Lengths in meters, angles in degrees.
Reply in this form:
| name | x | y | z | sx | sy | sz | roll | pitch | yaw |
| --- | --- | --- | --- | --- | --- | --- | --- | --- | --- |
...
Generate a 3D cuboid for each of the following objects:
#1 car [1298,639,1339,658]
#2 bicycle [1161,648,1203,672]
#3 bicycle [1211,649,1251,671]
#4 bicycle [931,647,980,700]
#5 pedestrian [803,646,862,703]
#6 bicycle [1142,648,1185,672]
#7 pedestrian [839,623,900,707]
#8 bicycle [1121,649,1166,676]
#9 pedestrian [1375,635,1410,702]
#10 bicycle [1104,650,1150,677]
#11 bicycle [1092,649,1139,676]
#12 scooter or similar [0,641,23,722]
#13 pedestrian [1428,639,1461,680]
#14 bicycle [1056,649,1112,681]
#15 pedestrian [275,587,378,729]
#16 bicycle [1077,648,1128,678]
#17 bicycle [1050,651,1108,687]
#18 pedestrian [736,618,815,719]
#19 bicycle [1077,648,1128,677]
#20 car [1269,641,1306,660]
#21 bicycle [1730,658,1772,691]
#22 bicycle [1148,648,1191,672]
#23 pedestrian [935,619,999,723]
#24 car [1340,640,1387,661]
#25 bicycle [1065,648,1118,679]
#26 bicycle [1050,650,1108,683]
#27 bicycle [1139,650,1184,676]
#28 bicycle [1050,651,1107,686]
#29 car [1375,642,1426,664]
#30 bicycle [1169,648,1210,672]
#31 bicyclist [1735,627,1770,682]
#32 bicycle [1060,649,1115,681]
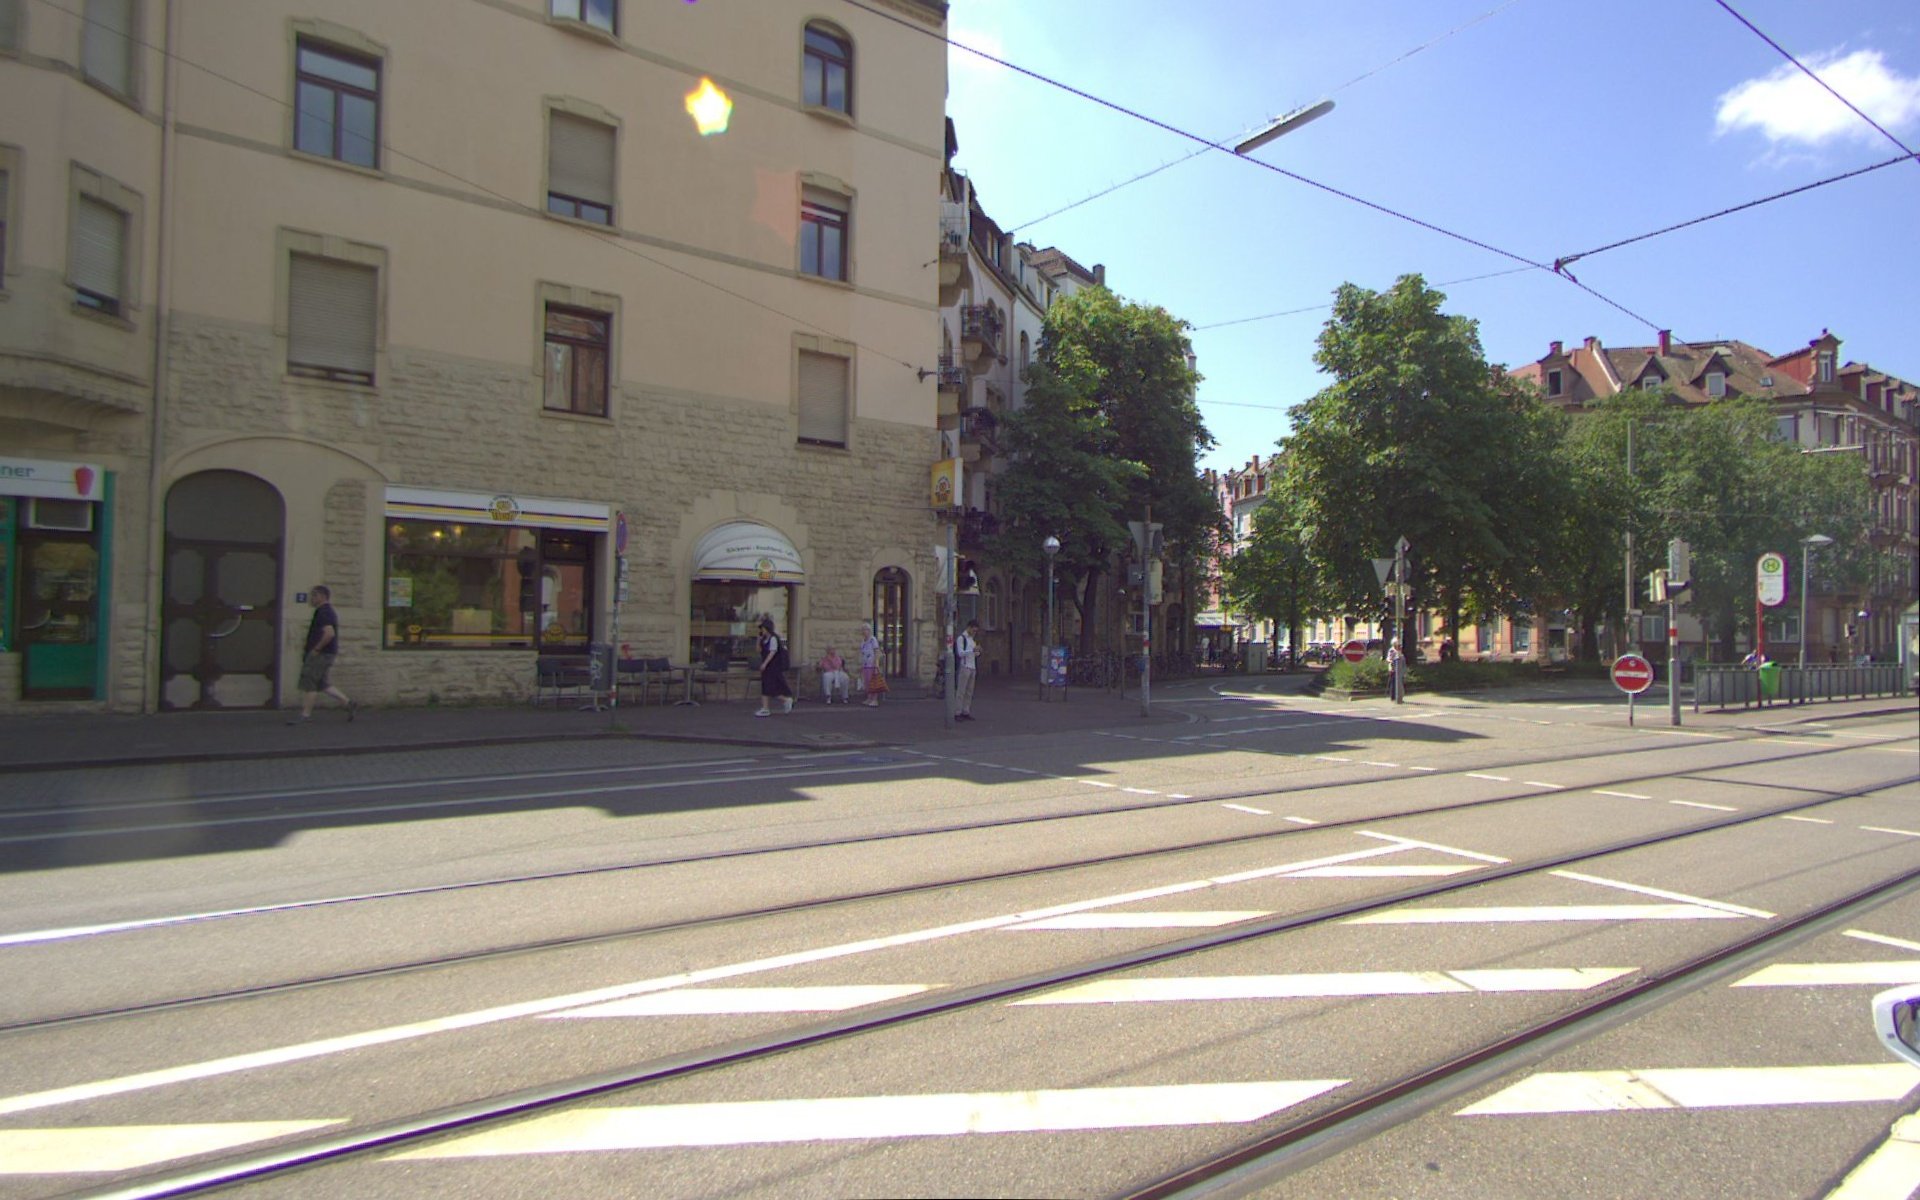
| name | x | y | z | sx | sy | sz | roll | pitch | yaw |
| --- | --- | --- | --- | --- | --- | --- | --- | --- | --- |
| car | 28.589 | 3.843 | 80.246 | 1.654 | 1.491 | 3.466 | 1 | -2 | -9 |
| bicycle | 10.154 | 2.730 | 45.950 | 1.825 | 1.046 | 0.543 | -1 | -2 | 34 |
| bicycle | 13.352 | 2.950 | 49.523 | 1.825 | 1.046 | 0.543 | -1 | -2 | 34 |
| bicycle | -0.083 | 1.656 | 22.590 | 0.533 | 1.143 | 1.684 | 0 | -4 | 19 |
| pedestrian | -2.564 | 1.472 | 20.150 | 0.873 | 1.092 | 0.910 | 2 | -2 | -33 |
| bicycle | 9.047 | 2.663 | 44.691 | 1.825 | 1.046 | 0.543 | -1 | -2 | 34 |
| pedestrian | -1.791 | 1.266 | 19.879 | 0.910 | 1.615 | 0.801 | 2 | -2 | -35 |
| bicycle | 7.651 | 2.601 | 41.905 | 1.825 | 1.046 | 0.543 | -1 | -2 | 35 |
| pedestrian | 11.549 | 1.814 | 26.829 | 0.824 | 1.745 | 0.918 | 0 | -2 | 26 |
| bicycle | 6.830 | 2.576 | 41.157 | 1.825 | 1.046 | 0.543 | -1 | -2 | 35 |
| bicycle | 6.250 | 2.495 | 40.406 | 1.825 | 1.046 | 0.543 | -1 | -2 | 35 |
| scooter or similar | -13.063 | 1.060 | 12.954 | 0.682 | 1.058 | 1.210 | 2 | -1 | 16 |
| pedestrian | 22.841 | 2.811 | 47.326 | 1.001 | 1.893 | 0.999 | 1 | -2 | -16 |
| bicycle | 4.204 | 2.194 | 33.979 | 1.819 | 1.046 | 0.545 | 0 | -2 | 17 |
| pedestrian | -8.987 | 0.794 | 14.246 | 1.153 | 1.916 | 0.895 | 2 | 0 | -35 |
| bicycle | 5.151 | 2.284 | 36.358 | 1.818 | 1.046 | 0.545 | 0 | -2 | 6 |
| bicycle | 3.614 | 2.099 | 30.567 | 1.697 | 1.046 | 0.544 | 1 | -2 | -1 |
| pedestrian | -3.182 | 1.166 | 17.331 | 1.016 | 1.657 | 0.854 | 2 | 0 | -36 |
| bicycle | 5.247 | 2.302 | 36.988 | 1.818 | 1.046 | 0.545 | 0 | -2 | 6 |
| car | 27.693 | 4.245 | 85.000 | 1.654 | 1.491 | 3.466 | 1 | -2 | -9 |
| bicycle | 27.634 | 2.585 | 35.097 | 1.699 | 1.116 | 0.724 | 2 | -2 | -36 |
| bicycle | 9.425 | 2.687 | 45.185 | 1.825 | 1.046 | 0.543 | -1 | -2 | 34 |
| pedestrian | 0.118 | 1.232 | 17.771 | 0.767 | 1.755 | 0.855 | 2 | -1 | -32 |
| car | 29.683 | 3.721 | 73.970 | 1.654 | 1.491 | 3.466 | 1 | -2 | -9 |
| bicycle | 4.655 | 2.248 | 35.512 | 1.818 | 1.046 | 0.545 | 0 | -2 | 13 |
| bicycle | 3.850 | 2.154 | 32.633 | 1.819 | 1.046 | 0.544 | 1 | -2 | -1 |
| bicycle | 8.641 | 2.679 | 43.007 | 1.825 | 1.046 | 0.543 | -1 | -2 | 35 |
| bicycle | 3.688 | 2.117 | 31.247 | 1.697 | 1.046 | 0.544 | 1 | -2 | -1 |
| car | 30.686 | 3.660 | 70.008 | 1.654 | 1.491 | 3.466 | 1 | -2 | -9 |
| bicycle | 10.661 | 2.771 | 46.689 | 1.825 | 1.046 | 0.543 | -1 | -2 | 34 |
| bicyclist | 27.778 | 1.910 | 35.213 | 0.816 | 1.894 | 0.718 | 2 | -2 | -33 |
| bicycle | 4.407 | 2.234 | 34.772 | 1.818 | 1.046 | 0.545 | 0 | -2 | 16 |
